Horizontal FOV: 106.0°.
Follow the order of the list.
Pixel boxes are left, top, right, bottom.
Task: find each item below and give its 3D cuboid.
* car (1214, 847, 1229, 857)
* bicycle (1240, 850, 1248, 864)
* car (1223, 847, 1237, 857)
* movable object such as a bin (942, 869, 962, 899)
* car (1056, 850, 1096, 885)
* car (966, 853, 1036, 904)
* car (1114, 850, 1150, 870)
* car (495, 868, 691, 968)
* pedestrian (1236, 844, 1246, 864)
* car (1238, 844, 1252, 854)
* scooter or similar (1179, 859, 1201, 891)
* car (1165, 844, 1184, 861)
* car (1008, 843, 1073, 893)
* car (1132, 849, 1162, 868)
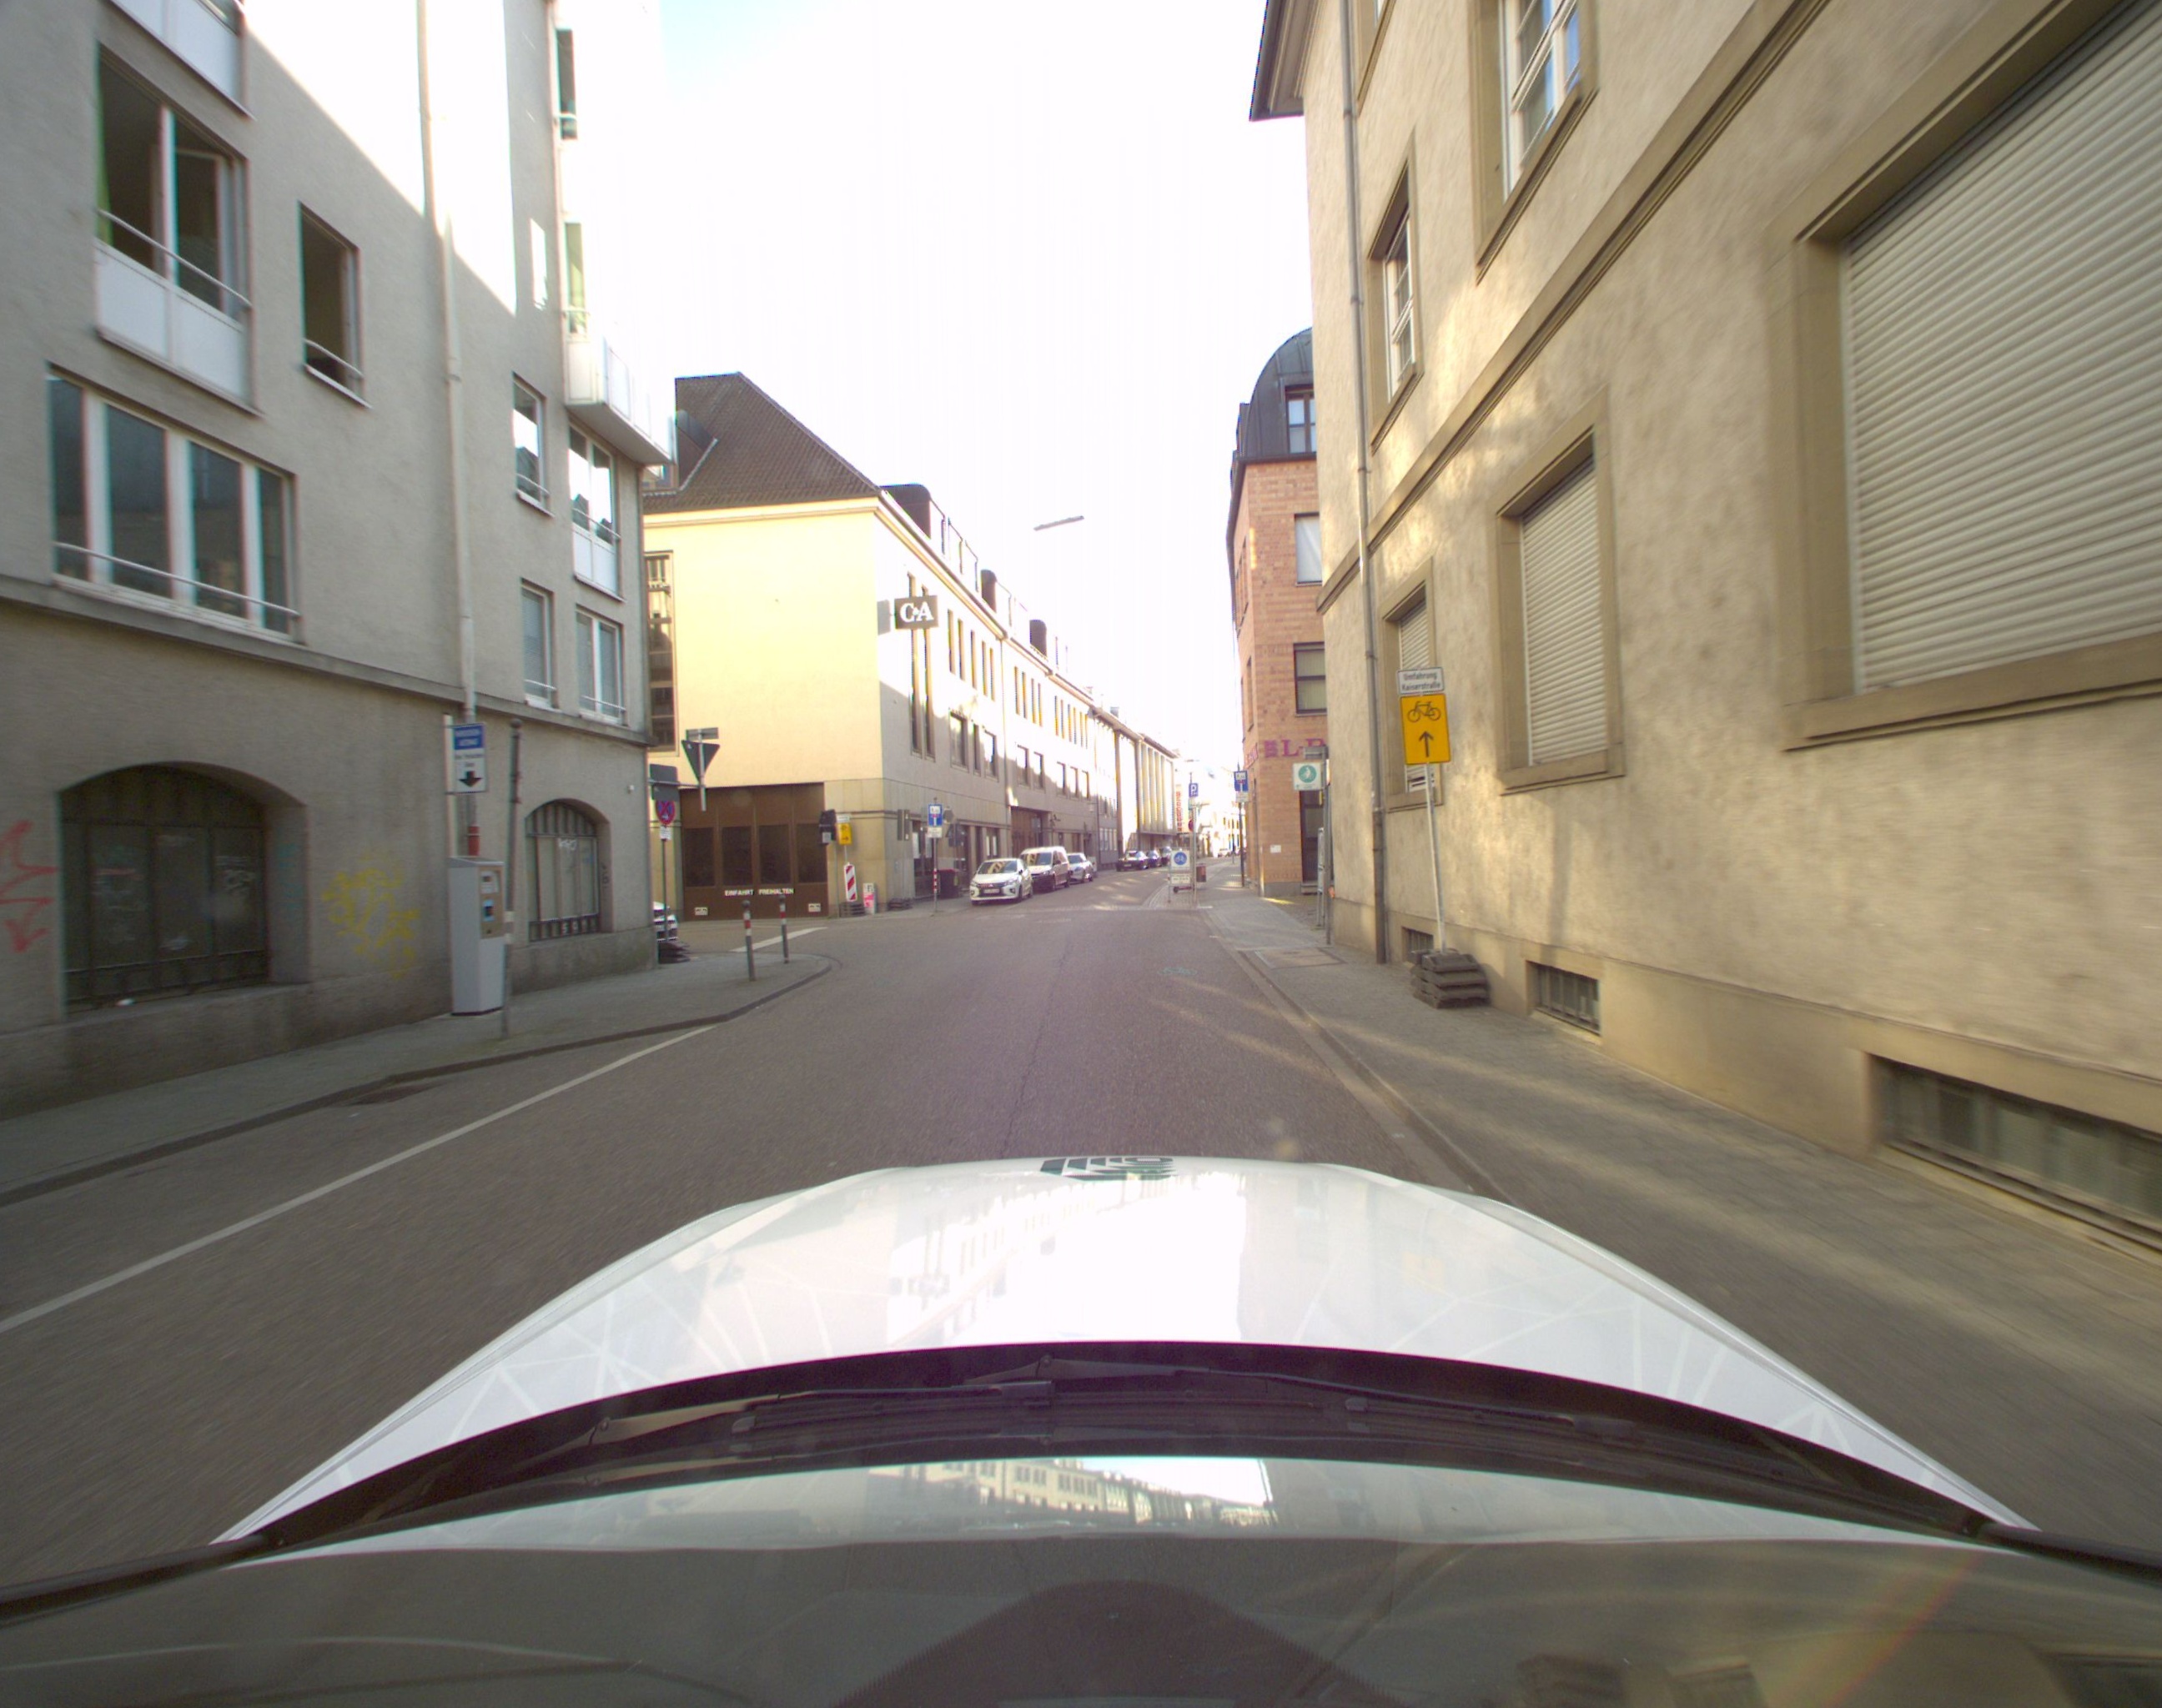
[{"bbox_3d":[20.935,-0.277,121.193,1.676,1.370,3.633,-3,0,16],"label":"car"},{"bbox_3d":[12.141,0.238,60.575,0.508,0.994,2.655,-2,0,10],"label":"bicycle"},{"bbox_3d":[21.840,-0.333,119.094,1.676,1.370,3.633,-3,0,16],"label":"car"},{"bbox_3d":[-4.629,1.068,29.232,0.606,1.060,0.713,0,0,1],"label":"movable object such as a bin"},{"bbox_3d":[-0.209,0.635,39.907,1.263,1.506,3.412,-4,0,10],"label":"car"},{"bbox_3d":[-2.674,0.786,27.965,1.663,1.506,3.798,-4,0,4],"label":"car"},{"bbox_3d":[3.826,0.438,60.157,1.868,1.332,4.116,-3,0,14],"label":"car"},{"bbox_3d":[-9.672,1.219,16.068,3.948,1.655,1.775,-3,0,34],"label":"car"},{"bbox_3d":[13.416,-0.002,68.227,0.662,1.730,0.840,0,0,3],"label":"pedestrian"},{"bbox_3d":[25.238,-0.738,125.363,1.676,1.370,3.633,-3,0,16],"label":"car"},{"bbox_3d":[3.872,0.737,28.918,0.767,1.136,0.270,0,0,6],"label":"scooter or similar"},{"bbox_3d":[9.138,-0.156,79.735,1.329,1.494,3.523,-3,0,14],"label":"car"},{"bbox_3d":[-1.599,0.522,33.784,1.660,1.818,4.564,-4,0,9],"label":"car"},{"bbox_3d":[5.403,0.352,66.472,1.712,1.340,4.015,-3,0,14],"label":"car"}]
